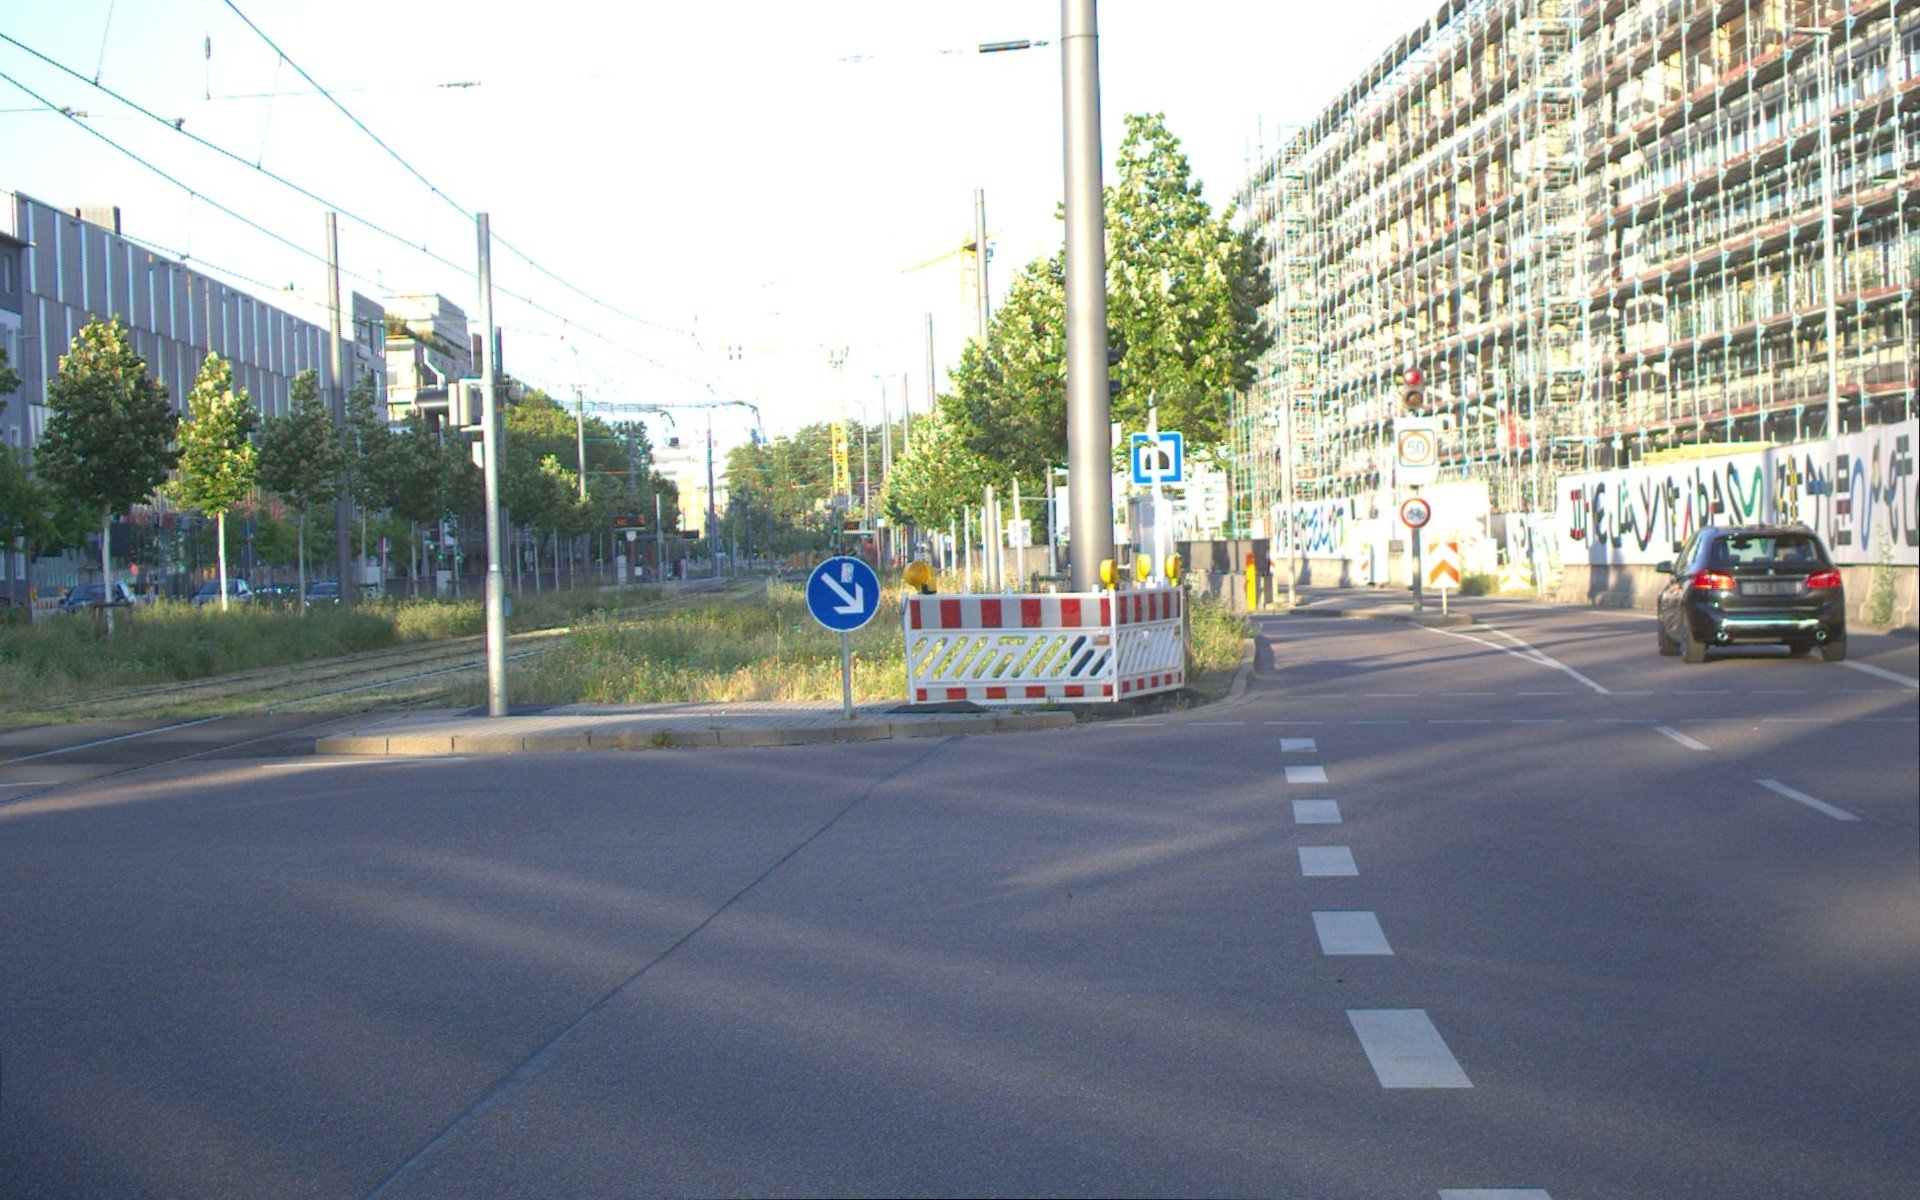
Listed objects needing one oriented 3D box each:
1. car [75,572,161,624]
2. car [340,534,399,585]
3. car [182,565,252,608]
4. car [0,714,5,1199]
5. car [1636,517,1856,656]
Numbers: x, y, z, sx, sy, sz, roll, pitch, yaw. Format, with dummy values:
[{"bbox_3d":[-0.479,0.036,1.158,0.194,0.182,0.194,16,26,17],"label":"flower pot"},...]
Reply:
[{"bbox_3d":[-25.005,-0.072,102.178,1.657,1.426,3.895,0,1,-1],"label":"car"},{"bbox_3d":[-23.725,-1.645,138.171,1.657,1.957,4.267,0,1,-1],"label":"car"},{"bbox_3d":[-25.969,-0.496,120.215,1.657,1.426,3.895,0,1,-1],"label":"car"},{"bbox_3d":[-3.464,0.669,7.702,1.674,1.347,4.000,-1,1,-29],"label":"car"},{"bbox_3d":[9.060,-0.200,39.961,1.821,1.513,4.791,0,1,5],"label":"car"}]
